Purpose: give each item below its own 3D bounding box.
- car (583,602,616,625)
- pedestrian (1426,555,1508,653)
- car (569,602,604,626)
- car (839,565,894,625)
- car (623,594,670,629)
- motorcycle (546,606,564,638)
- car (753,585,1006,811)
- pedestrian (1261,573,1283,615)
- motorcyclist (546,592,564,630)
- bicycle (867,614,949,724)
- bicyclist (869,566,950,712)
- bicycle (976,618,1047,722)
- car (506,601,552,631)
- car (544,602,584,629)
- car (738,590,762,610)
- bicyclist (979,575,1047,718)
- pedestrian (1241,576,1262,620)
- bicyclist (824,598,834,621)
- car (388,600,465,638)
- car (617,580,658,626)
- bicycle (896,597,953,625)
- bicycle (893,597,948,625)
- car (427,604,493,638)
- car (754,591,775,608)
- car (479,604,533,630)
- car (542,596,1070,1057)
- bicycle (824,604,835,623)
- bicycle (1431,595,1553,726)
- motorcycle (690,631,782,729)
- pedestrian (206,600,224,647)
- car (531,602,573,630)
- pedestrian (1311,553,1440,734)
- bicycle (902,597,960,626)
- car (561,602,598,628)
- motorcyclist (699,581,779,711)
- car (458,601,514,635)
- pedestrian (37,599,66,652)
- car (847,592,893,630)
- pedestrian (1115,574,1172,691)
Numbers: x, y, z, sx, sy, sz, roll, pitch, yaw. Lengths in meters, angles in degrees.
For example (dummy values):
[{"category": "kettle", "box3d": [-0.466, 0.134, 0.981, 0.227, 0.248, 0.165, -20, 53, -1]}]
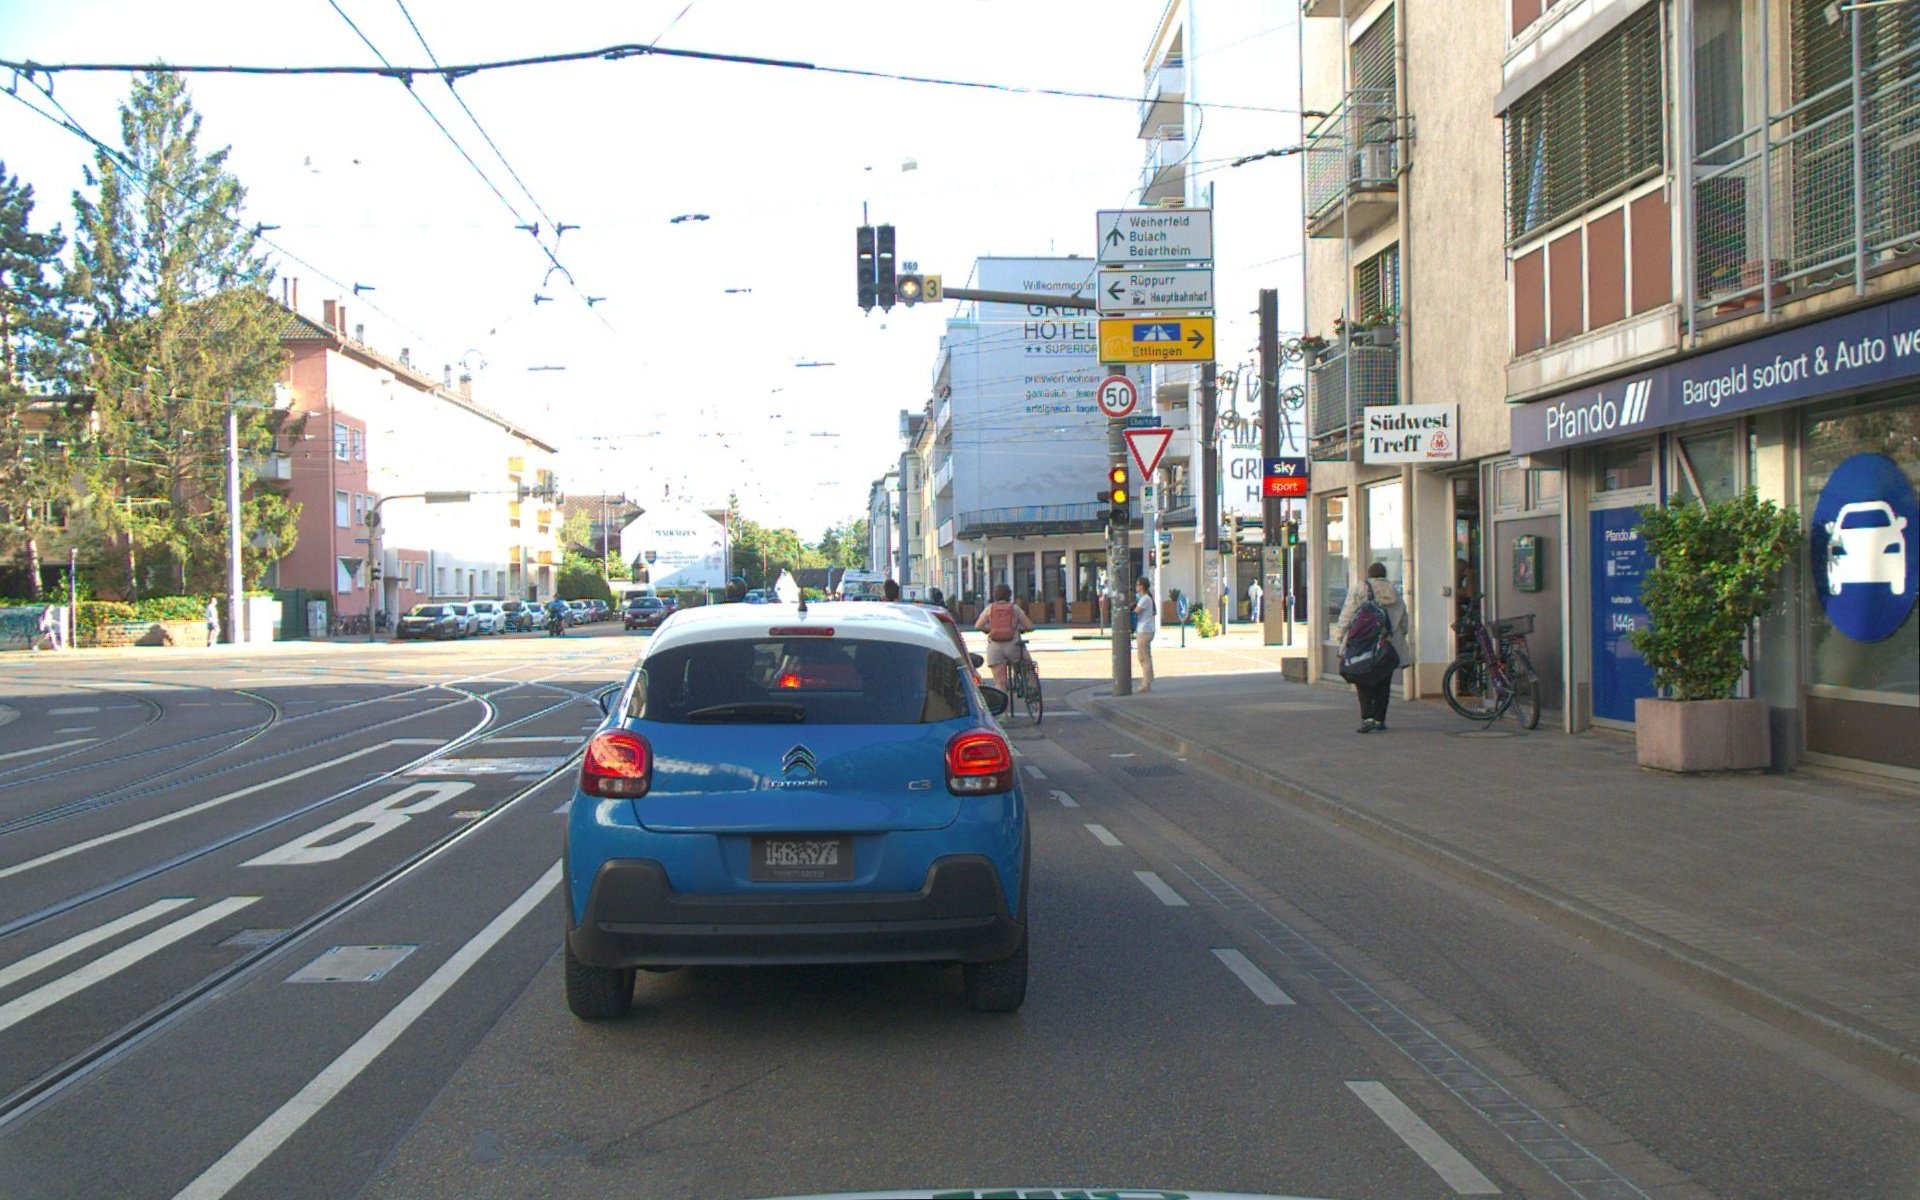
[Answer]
[{"category": "car", "box3d": [-25.810, 0.968, 118.527, 1.833, 1.604, 3.995, 1, 0, -6]}, {"category": "pedestrian", "box3d": [5.933, 0.043, 19.359, 0.618, 1.106, 0.670, -2, 1, -38]}, {"category": "car", "box3d": [-25.327, 0.951, 112.320, 1.833, 1.604, 3.995, 1, 0, -6]}, {"category": "car", "box3d": [-4.149, -0.209, 72.760, 2.221, 2.525, 5.002, 0, 0, -5]}, {"category": "car", "box3d": [-14.427, 0.522, 76.227, 1.744, 1.512, 3.824, -1, 0, -5]}, {"category": "motorcycle", "box3d": [-16.335, 0.889, 66.717, 0.700, 1.241, 1.958, -1, -2, -14]}, {"category": "car", "box3d": [-0.730, 0.679, 13.455, 1.750, 1.548, 3.758, 1, 1, -5]}, {"category": "pedestrian", "box3d": [12.236, -0.243, 64.907, 0.600, 1.636, 0.666, 1, -1, 37]}, {"category": "motorcyclist", "box3d": [-16.356, 0.439, 66.823, 0.681, 1.523, 0.682, -1, -2, -14]}, {"category": "bicycle", "box3d": [-0.627, 0.798, 19.974, 0.921, 1.245, 2.094, 1, 0, -2]}, {"category": "bicyclist", "box3d": [-0.609, 0.463, 19.940, 0.921, 1.702, 1.079, 1, 0, -2]}, {"category": "bicycle", "box3d": [0.666, 0.837, 20.563, 0.794, 1.202, 2.065, 1, 0, 4]}, {"category": "car", "box3d": [-23.854, 0.890, 91.696, 1.833, 1.604, 3.995, 1, 0, -6]}, {"category": "car", "box3d": [-24.482, 0.924, 102.329, 1.833, 1.604, 3.995, 1, 0, -6]}, {"category": "car", "box3d": [-21.512, 0.034, 169.639, 2.174, 1.965, 4.945, 1, 0, -4]}, {"category": "bicyclist", "box3d": [0.668, 0.570, 20.560, 0.794, 1.721, 0.935, 1, 0, 4]}, {"category": "pedestrian", "box3d": [11.030, -0.078, 62.500, 0.598, 1.636, 0.668, 1, -1, 27]}, {"category": "bicyclist", "box3d": [-11.918, 0.845, 150.864, 0.774, 2.060, 0.986, 1, -1, 0]}, {"category": "car", "box3d": [-22.102, 0.817, 68.708, 2.112, 1.457, 4.435, 1, -2, -5]}, {"category": "car", "box3d": [-23.126, 0.239, 118.740, 2.370, 3.197, 3.486, 1, 0, -4]}, {"category": "bicycle", "box3d": [-1.437, 0.443, 67.147, 2.208, 1.019, 0.855, -2, 0, -6]}, {"category": "bicycle", "box3d": [-1.640, 0.452, 68.255, 2.208, 1.019, 0.855, -2, 0, -6]}, {"category": "car", "box3d": [-22.424, 0.935, 74.345, 1.865, 1.462, 4.100, 1, 0, -3]}, {"category": "car", "box3d": [-22.192, -0.052, 187.537, 2.033, 1.793, 5.032, 1, 0, -4]}, {"category": "car", "box3d": [-23.477, 0.864, 85.696, 1.909, 1.261, 4.278, 1, 0, -5]}, {"category": "car", "box3d": [-0.564, 0.729, 7.179, 1.701, 1.478, 3.661, 0, 0, -2]}, {"category": "bicycle", "box3d": [-11.923, 1.214, 150.859, 0.774, 1.699, 2.230, 1, 0, 1]}, {"category": "bicycle", "box3d": [5.059, 0.551, 15.829, 0.486, 1.182, 1.776, -1, 0, -4]}, {"category": "motorcycle", "box3d": [-2.624, 0.918, 19.559, 0.837, 1.065, 1.942, 1, 0, -1]}, {"category": "pedestrian", "box3d": [-25.713, 0.815, 57.074, 0.510, 1.596, 0.568, 1, -1, -28]}, {"category": "car", "box3d": [-24.083, 0.912, 97.753, 1.833, 1.604, 3.995, 1, 0, -6]}, {"category": "pedestrian", "box3d": [3.930, 0.393, 15.686, 0.868, 1.619, 0.809, -3, 1, -9]}, {"category": "bicycle", "box3d": [-1.148, 0.452, 65.784, 2.208, 1.019, 0.855, -2, 0, -6]}, {"category": "car", "box3d": [-24.654, 0.941, 107.223, 1.833, 1.604, 3.995, 1, 0, -6]}, {"category": "motorcyclist", "box3d": [-2.624, 0.541, 19.726, 0.837, 1.514, 0.729, 1, -1, -1]}, {"category": "car", "box3d": [-22.628, 0.857, 79.066, 1.707, 1.553, 4.226, 1, 0, -4]}, {"category": "pedestrian", "box3d": [-30.415, 0.864, 55.391, 0.771, 1.752, 0.699, 1, -1, -24]}, {"category": "car", "box3d": [-3.732, 0.444, 67.784, 1.626, 1.456, 3.882, 1, 0, -7]}, {"category": "pedestrian", "box3d": [2.694, 0.469, 24.202, 0.528, 1.652, 0.733, -5, -2, 21]}]
